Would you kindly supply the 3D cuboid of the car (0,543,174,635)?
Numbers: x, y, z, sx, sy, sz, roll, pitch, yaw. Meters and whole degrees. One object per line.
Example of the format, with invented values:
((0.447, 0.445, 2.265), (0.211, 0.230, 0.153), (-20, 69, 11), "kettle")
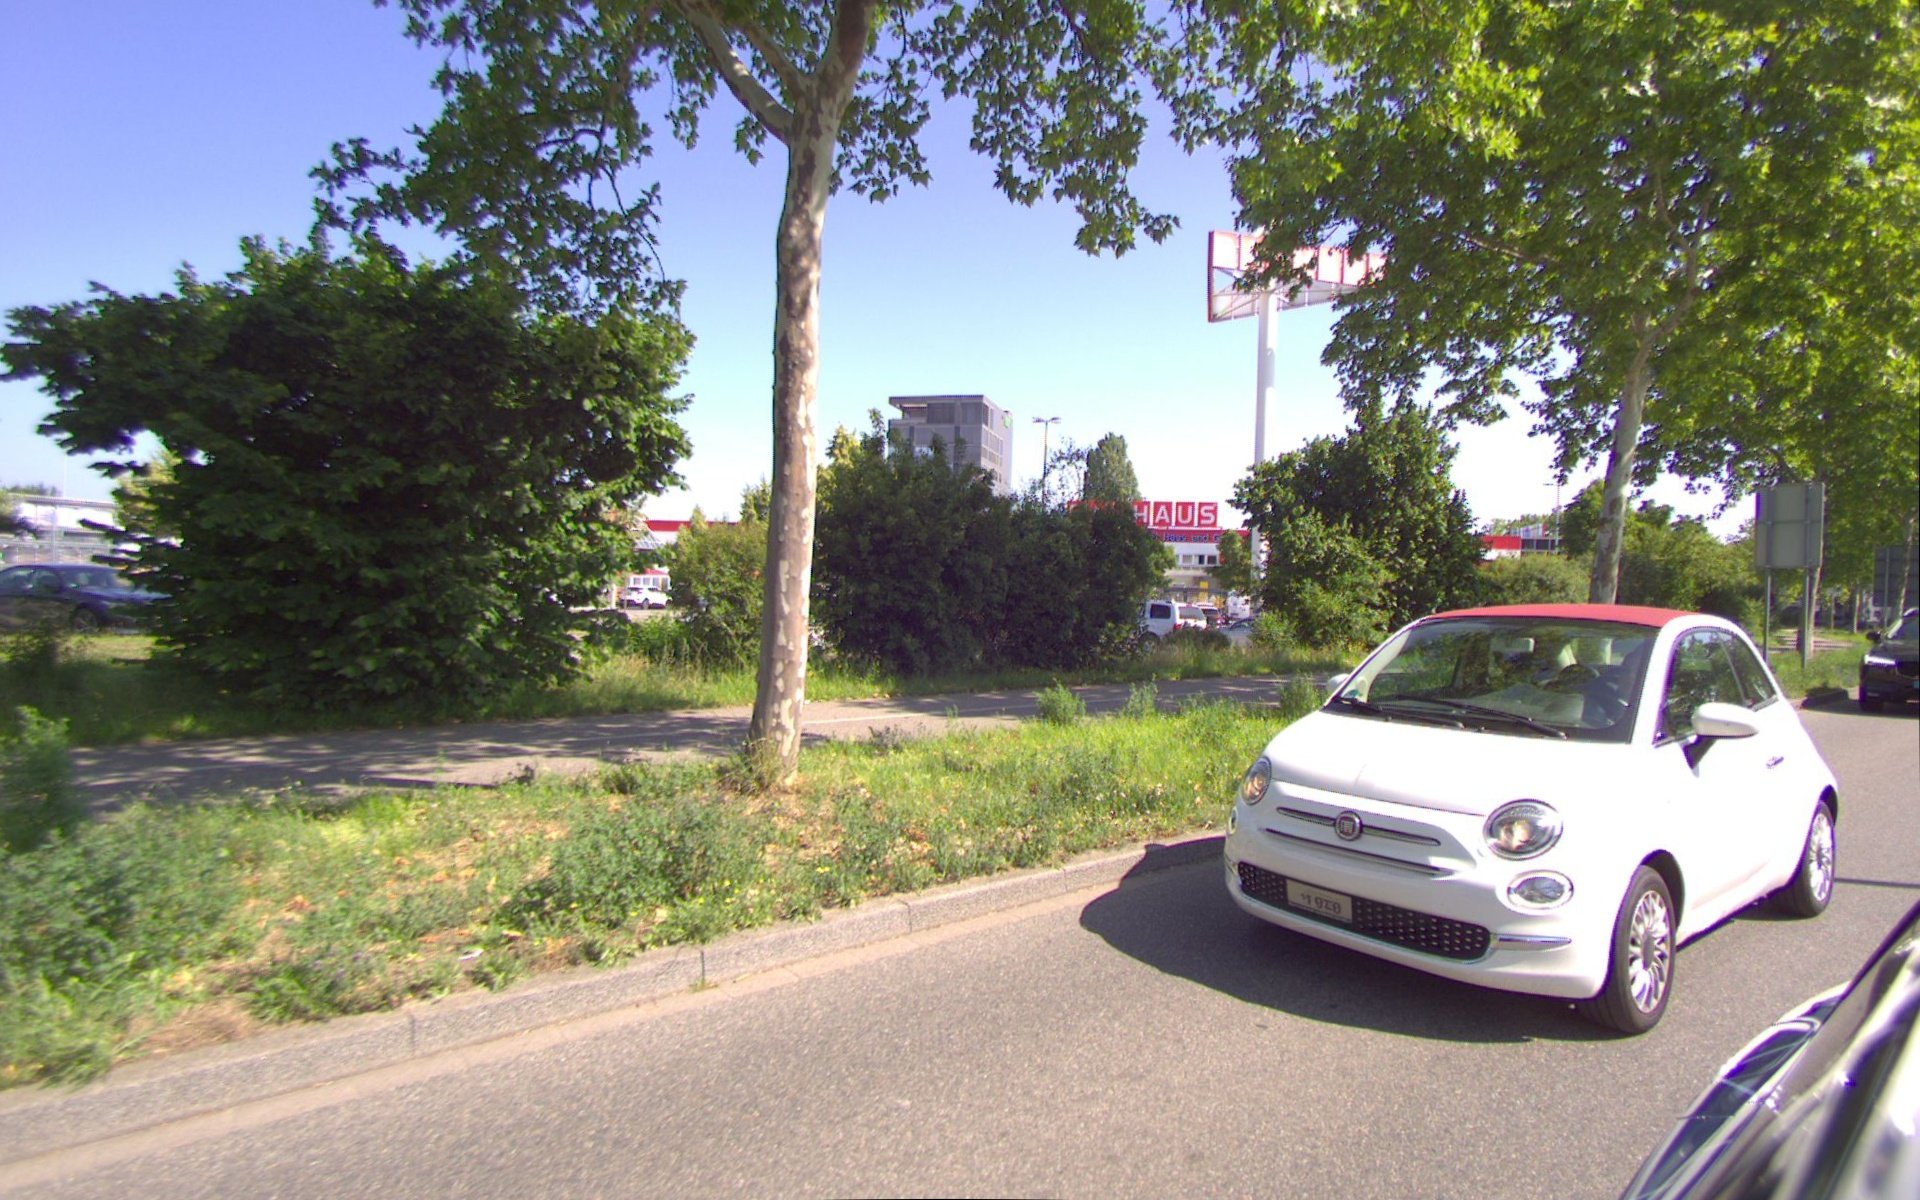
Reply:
((-17.345, -0.217, 20.000), (3.625, 1.661, 1.711), (0, 0, 32), "car")

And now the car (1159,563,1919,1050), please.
((2.775, 0.622, 4.651), (3.450, 1.455, 1.668), (0, 0, -32), "car")

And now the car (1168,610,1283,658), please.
((10.141, 1.265, 38.779), (1.670, 1.693, 3.989), (1, 0, -44), "car")

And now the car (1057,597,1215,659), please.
((5.594, 0.834, 32.750), (1.777, 1.839, 4.970), (1, 0, -44), "car")

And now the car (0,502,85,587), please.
((-47.176, -2.677, 47.954), (2.418, 4.000, 8.844), (0, 0, 14), "car")

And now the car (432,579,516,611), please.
((-22.714, -0.233, 47.411), (1.661, 1.429, 3.500), (0, 0, 16), "car")

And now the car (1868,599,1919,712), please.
((15.877, 0.817, 15.872), (4.485, 1.643, 1.922), (0, 0, -41), "car")
